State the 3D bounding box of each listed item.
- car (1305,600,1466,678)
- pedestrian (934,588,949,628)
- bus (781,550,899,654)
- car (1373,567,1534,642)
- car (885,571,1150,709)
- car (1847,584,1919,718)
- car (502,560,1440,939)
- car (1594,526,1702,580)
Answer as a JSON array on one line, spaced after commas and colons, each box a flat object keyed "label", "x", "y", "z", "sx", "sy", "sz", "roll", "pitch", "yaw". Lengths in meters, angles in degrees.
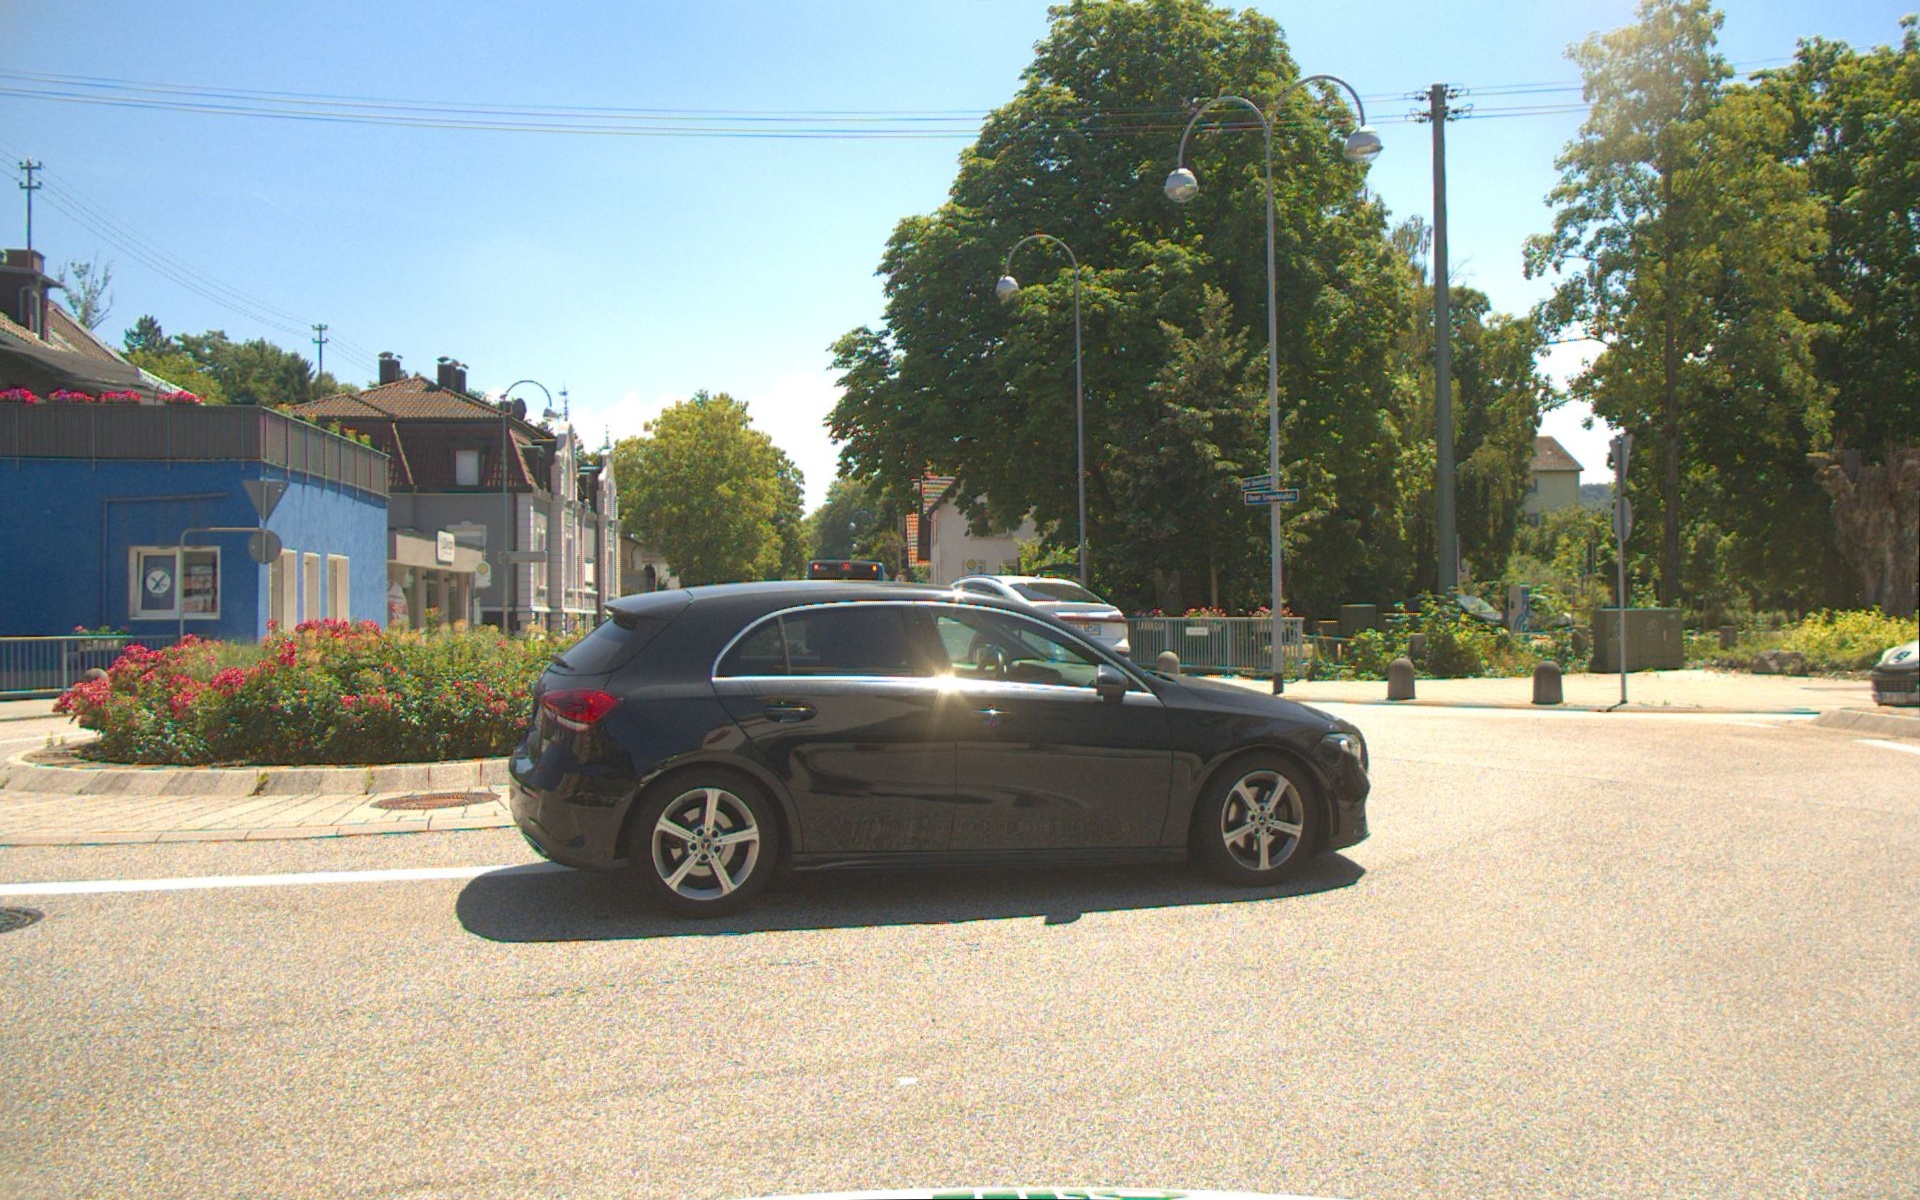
[{"label": "car", "x": 9.244, "y": 0.821, "z": 35.991, "sx": 3.001, "sy": 1.580, "sz": 1.626, "roll": -1, "pitch": 0, "yaw": -17}, {"label": "pedestrian", "x": -0.736, "y": 0.312, "z": 65.251, "sx": 0.480, "sy": 1.548, "sz": 0.541, "roll": -1, "pitch": 0, "yaw": -9}, {"label": "bus", "x": -4.117, "y": 0.167, "z": 61.080, "sx": 3.632, "sy": 3.227, "sz": 18.060, "roll": 1, "pitch": -1, "yaw": -2}, {"label": "car", "x": 14.075, "y": 0.137, "z": 47.281, "sx": 1.984, "sy": 2.049, "sz": 3.936, "roll": -1, "pitch": 0, "yaw": -43}, {"label": "car", "x": 0.667, "y": 0.511, "z": 22.824, "sx": 1.874, "sy": 1.691, "sz": 4.373, "roll": -1, "pitch": 0, "yaw": -25}, {"label": "car", "x": 13.010, "y": 0.545, "z": 19.569, "sx": 4.110, "sy": 1.543, "sz": 1.745, "roll": -1, "pitch": 0, "yaw": -2}, {"label": "car", "x": 0.027, "y": 0.567, "z": 8.230, "sx": 4.357, "sy": 1.482, "sz": 1.759, "roll": -1, "pitch": 2, "yaw": -19}, {"label": "car", "x": 27.756, "y": -1.870, "z": 66.807, "sx": 3.906, "sy": 2.049, "sz": 2.000, "roll": -1, "pitch": 0, "yaw": 23}]
